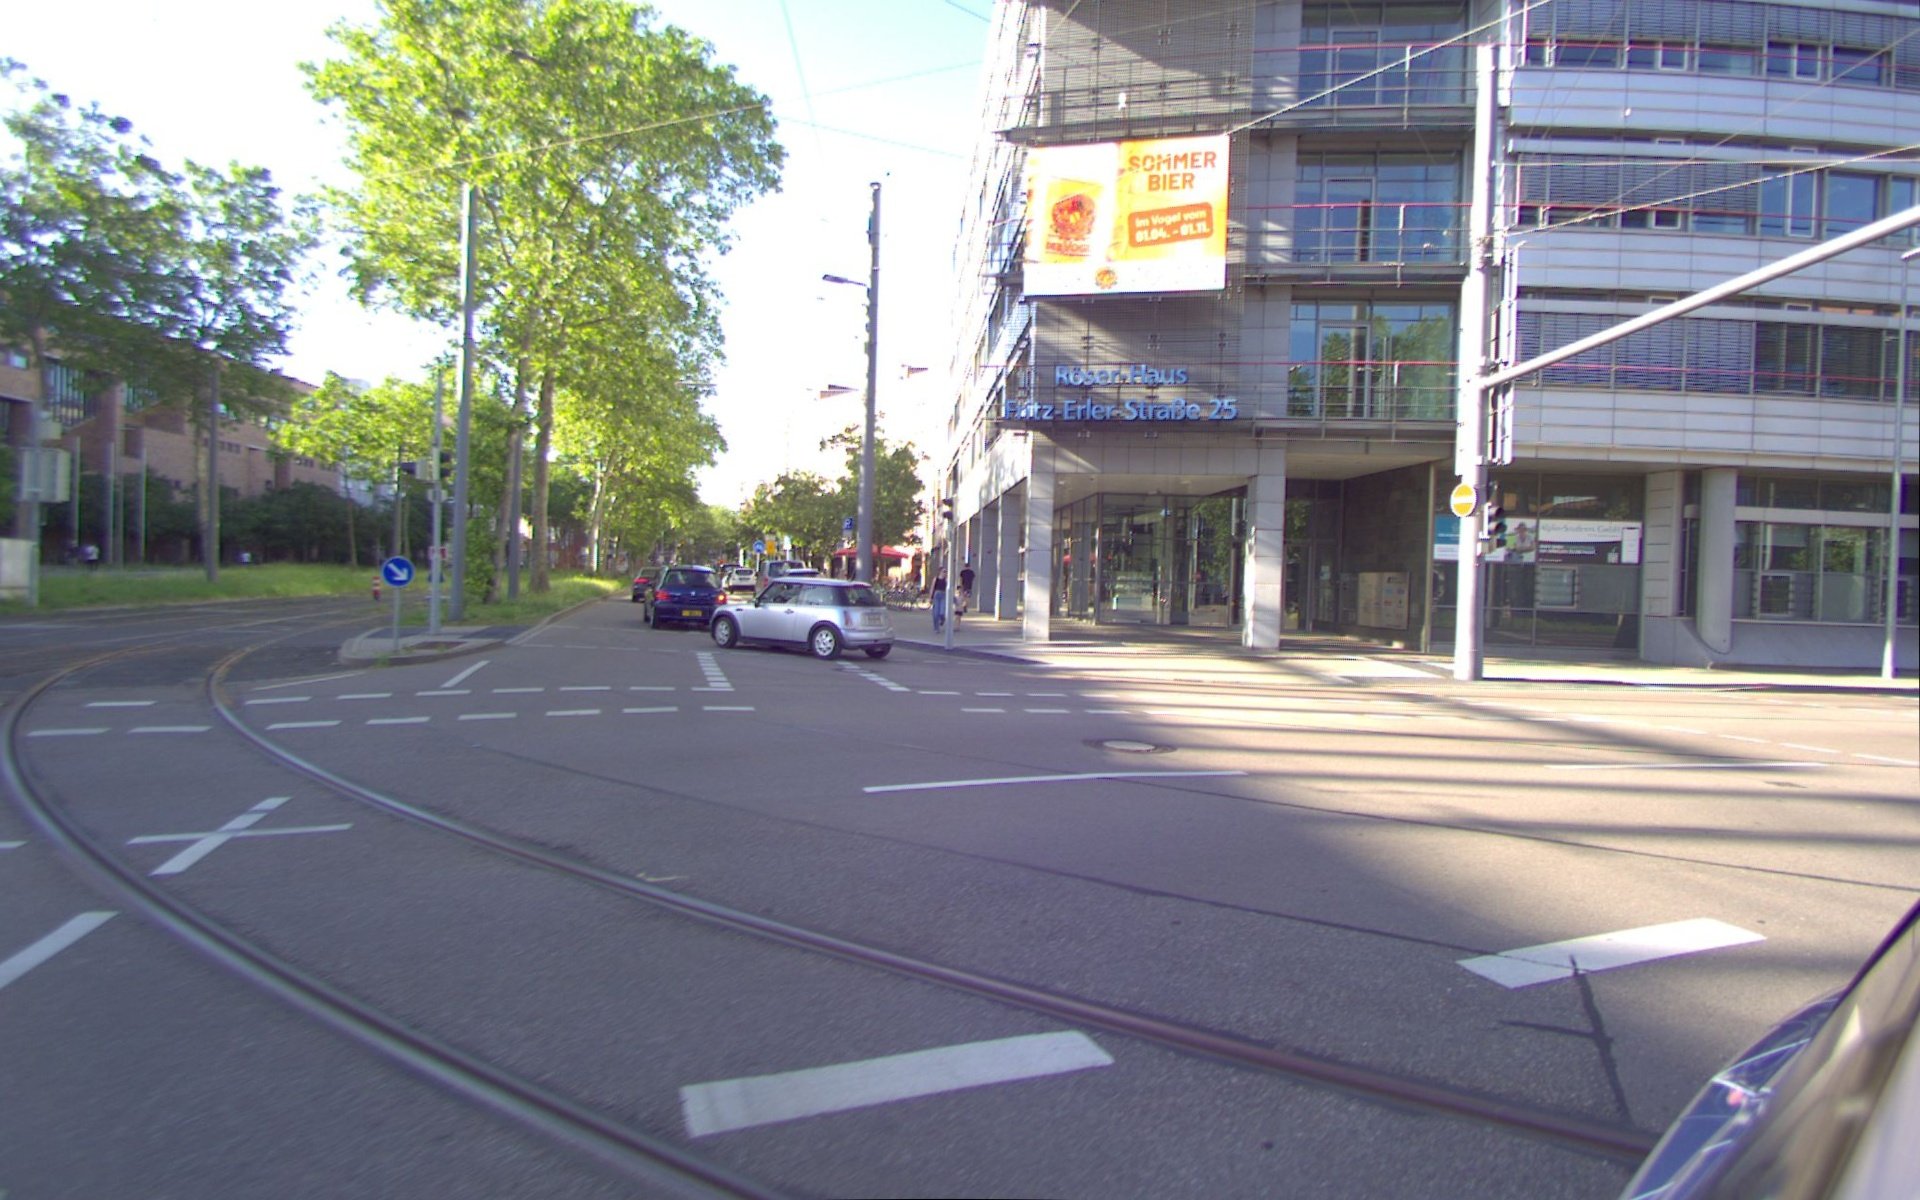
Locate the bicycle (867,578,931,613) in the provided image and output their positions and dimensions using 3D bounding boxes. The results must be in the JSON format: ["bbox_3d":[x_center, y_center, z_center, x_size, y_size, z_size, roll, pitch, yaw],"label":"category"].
[{"bbox_3d":[-2.284,-0.164,38.153,2.347,1.229,0.776,2,0,-3],"label":"bicycle"}]

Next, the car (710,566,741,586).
[{"bbox_3d":[-18.830,-1.924,81.074,1.828,1.493,3.986,0,1,-22],"label":"car"}]

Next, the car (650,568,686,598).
[{"bbox_3d":[-15.089,-0.905,52.144,1.664,1.493,3.991,1,1,-17],"label":"car"}]

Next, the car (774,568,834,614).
[{"bbox_3d":[-5.463,-0.346,35.768,1.830,1.493,3.982,1,1,-5],"label":"car"}]

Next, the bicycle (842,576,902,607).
[{"bbox_3d":[-3.691,-0.353,42.501,2.345,1.229,0.777,1,0,-24],"label":"bicycle"}]

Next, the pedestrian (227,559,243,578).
[{"bbox_3d":[-53.248,-2.292,74.344,0.795,1.401,0.689,1,1,-15],"label":"pedestrian"}]

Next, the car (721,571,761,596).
[{"bbox_3d":[-13.991,-1.075,64.427,1.828,1.493,3.986,0,1,-22],"label":"car"}]

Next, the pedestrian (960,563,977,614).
[{"bbox_3d":[0.295,-0.399,35.713,0.576,1.756,0.793,0,-1,2],"label":"pedestrian"}]

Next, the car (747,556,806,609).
[{"bbox_3d":[-7.537,-0.739,41.336,1.828,2.041,4.468,1,1,-17],"label":"car"}]

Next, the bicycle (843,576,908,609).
[{"bbox_3d":[-3.290,-0.297,39.448,2.345,1.229,0.777,1,0,-24],"label":"bicycle"}]

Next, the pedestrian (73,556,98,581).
[{"bbox_3d":[-48.155,-1.732,55.735,0.795,1.401,0.689,1,1,-15],"label":"pedestrian"}]

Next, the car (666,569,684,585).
[{"bbox_3d":[-33.969,-2.750,120.495,1.785,1.791,4.324,1,0,-19],"label":"car"}]

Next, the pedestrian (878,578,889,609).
[{"bbox_3d":[-4.325,-0.376,57.167,0.624,1.756,0.794,0,-1,-4],"label":"pedestrian"}]

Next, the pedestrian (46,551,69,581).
[{"bbox_3d":[-49.640,-1.857,55.659,0.796,1.626,0.688,1,1,-29],"label":"pedestrian"}]

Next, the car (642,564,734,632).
[{"bbox_3d":[-6.606,-0.102,24.300,1.828,1.493,3.987,0,1,-20],"label":"car"}]

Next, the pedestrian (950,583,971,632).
[{"bbox_3d":[0.021,0.187,25.918,0.434,1.225,0.462,1,0,-10],"label":"pedestrian"}]

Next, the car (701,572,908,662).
[{"bbox_3d":[-2.874,0.266,18.542,3.510,1.406,1.647,3,1,32],"label":"car"}]

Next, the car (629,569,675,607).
[{"bbox_3d":[-12.372,-0.486,40.557,1.665,1.458,4.028,0,1,-18],"label":"car"}]

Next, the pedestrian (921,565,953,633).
[{"bbox_3d":[-0.587,-0.032,25.487,0.647,1.661,0.794,1,0,-10],"label":"pedestrian"}]
